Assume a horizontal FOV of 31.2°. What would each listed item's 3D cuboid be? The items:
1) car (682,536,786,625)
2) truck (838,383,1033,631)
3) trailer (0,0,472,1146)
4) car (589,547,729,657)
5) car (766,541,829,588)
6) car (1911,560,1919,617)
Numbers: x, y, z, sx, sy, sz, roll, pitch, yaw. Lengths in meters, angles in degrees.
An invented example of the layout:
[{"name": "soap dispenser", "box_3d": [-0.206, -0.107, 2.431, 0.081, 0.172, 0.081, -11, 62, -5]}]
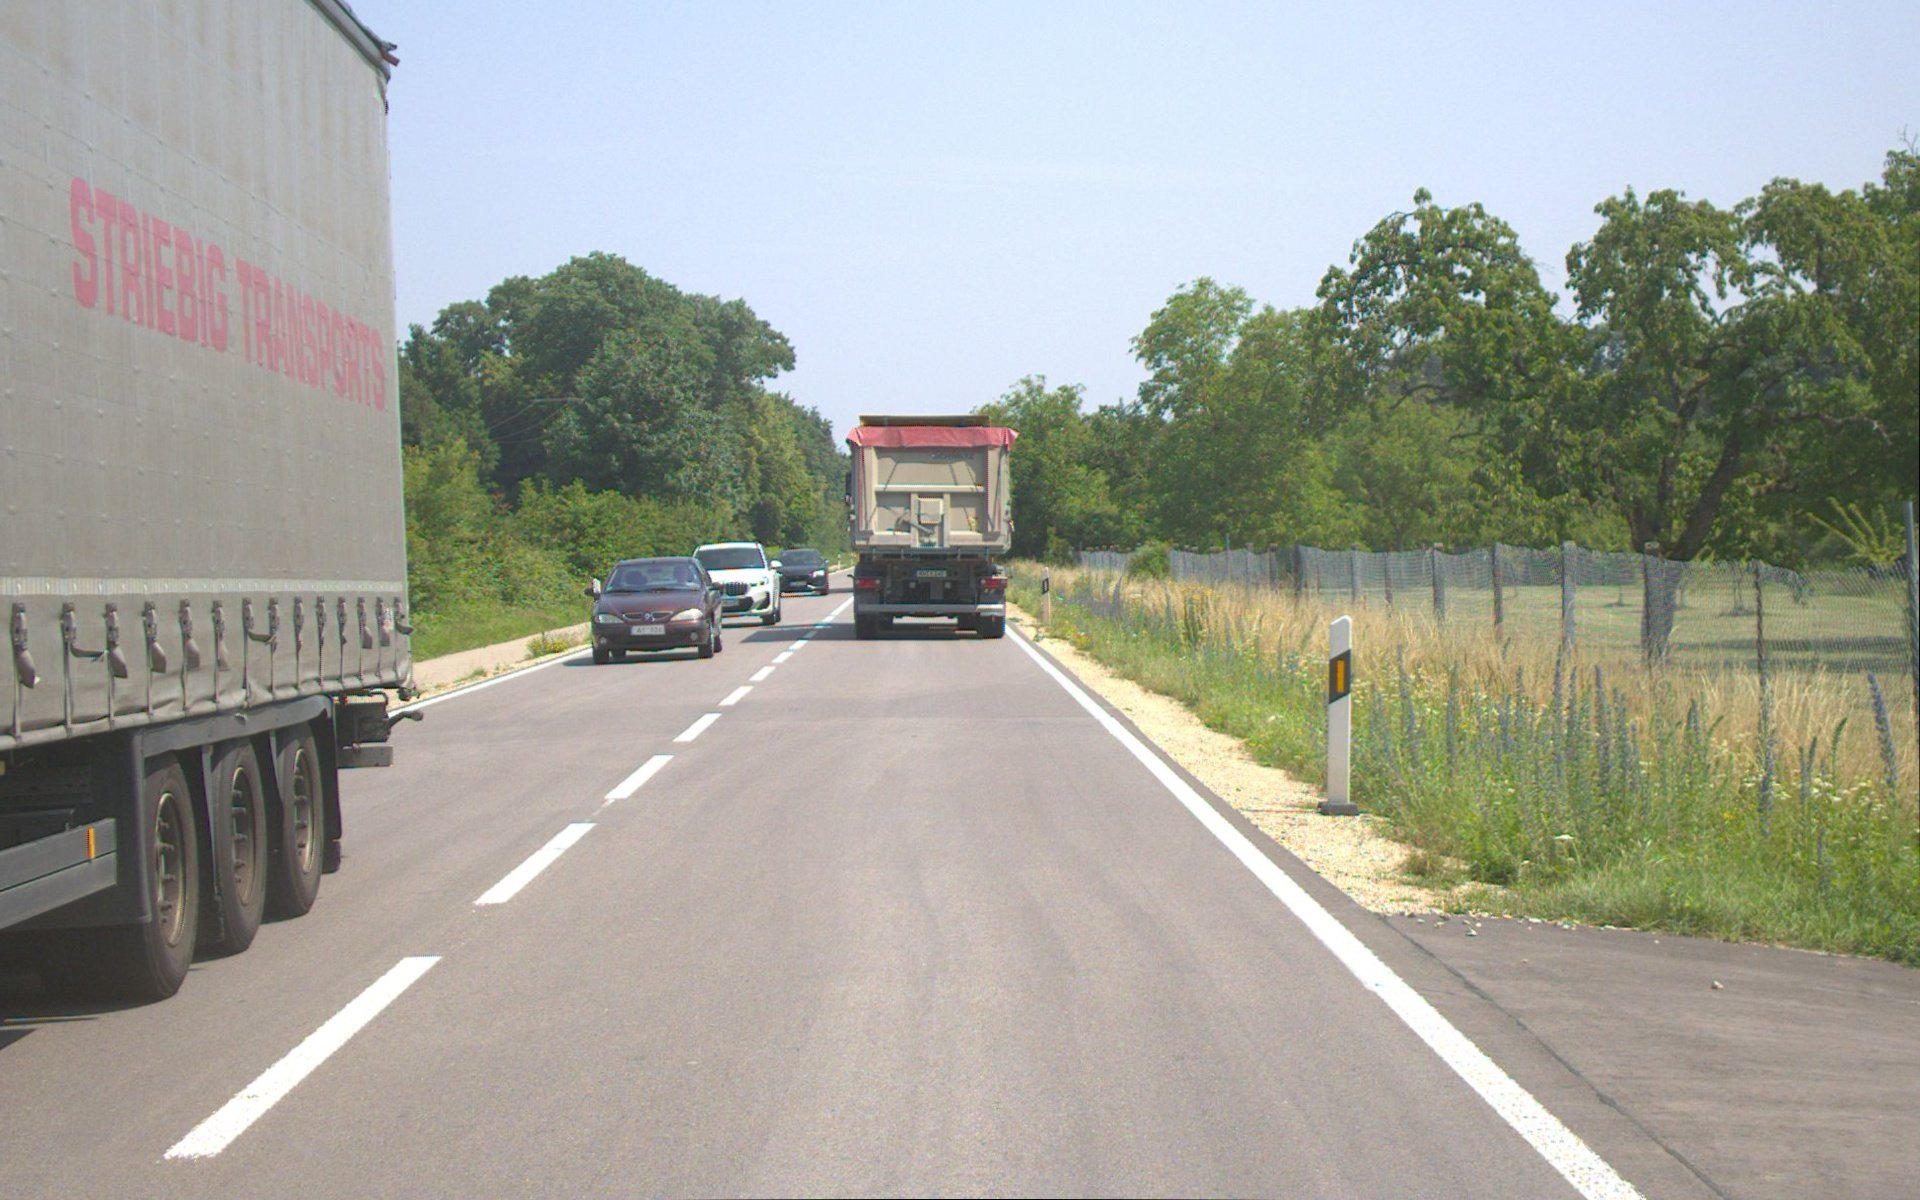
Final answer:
[{"name": "car", "box_3d": [-4.421, -0.413, 67.808, 1.758, 1.601, 4.482, -3, 1, -1]}, {"name": "truck", "box_3d": [-0.468, -1.552, 60.382, 3.009, 3.861, 12.210, 1, 1, -1]}, {"name": "trailer", "box_3d": [-3.883, -0.734, 10.679, 2.717, 4.251, 13.811, -3, 1, -1]}, {"name": "car", "box_3d": [-4.223, -0.004, 48.732, 1.694, 1.401, 4.046, -3, 1, -2]}, {"name": "car", "box_3d": [-5.049, -1.121, 107.318, 1.758, 1.353, 4.046, -3, 1, -1]}, {"name": "car", "box_3d": [26.142, -0.266, 89.208, 1.592, 1.481, 3.429, -1, 2, -8]}]
